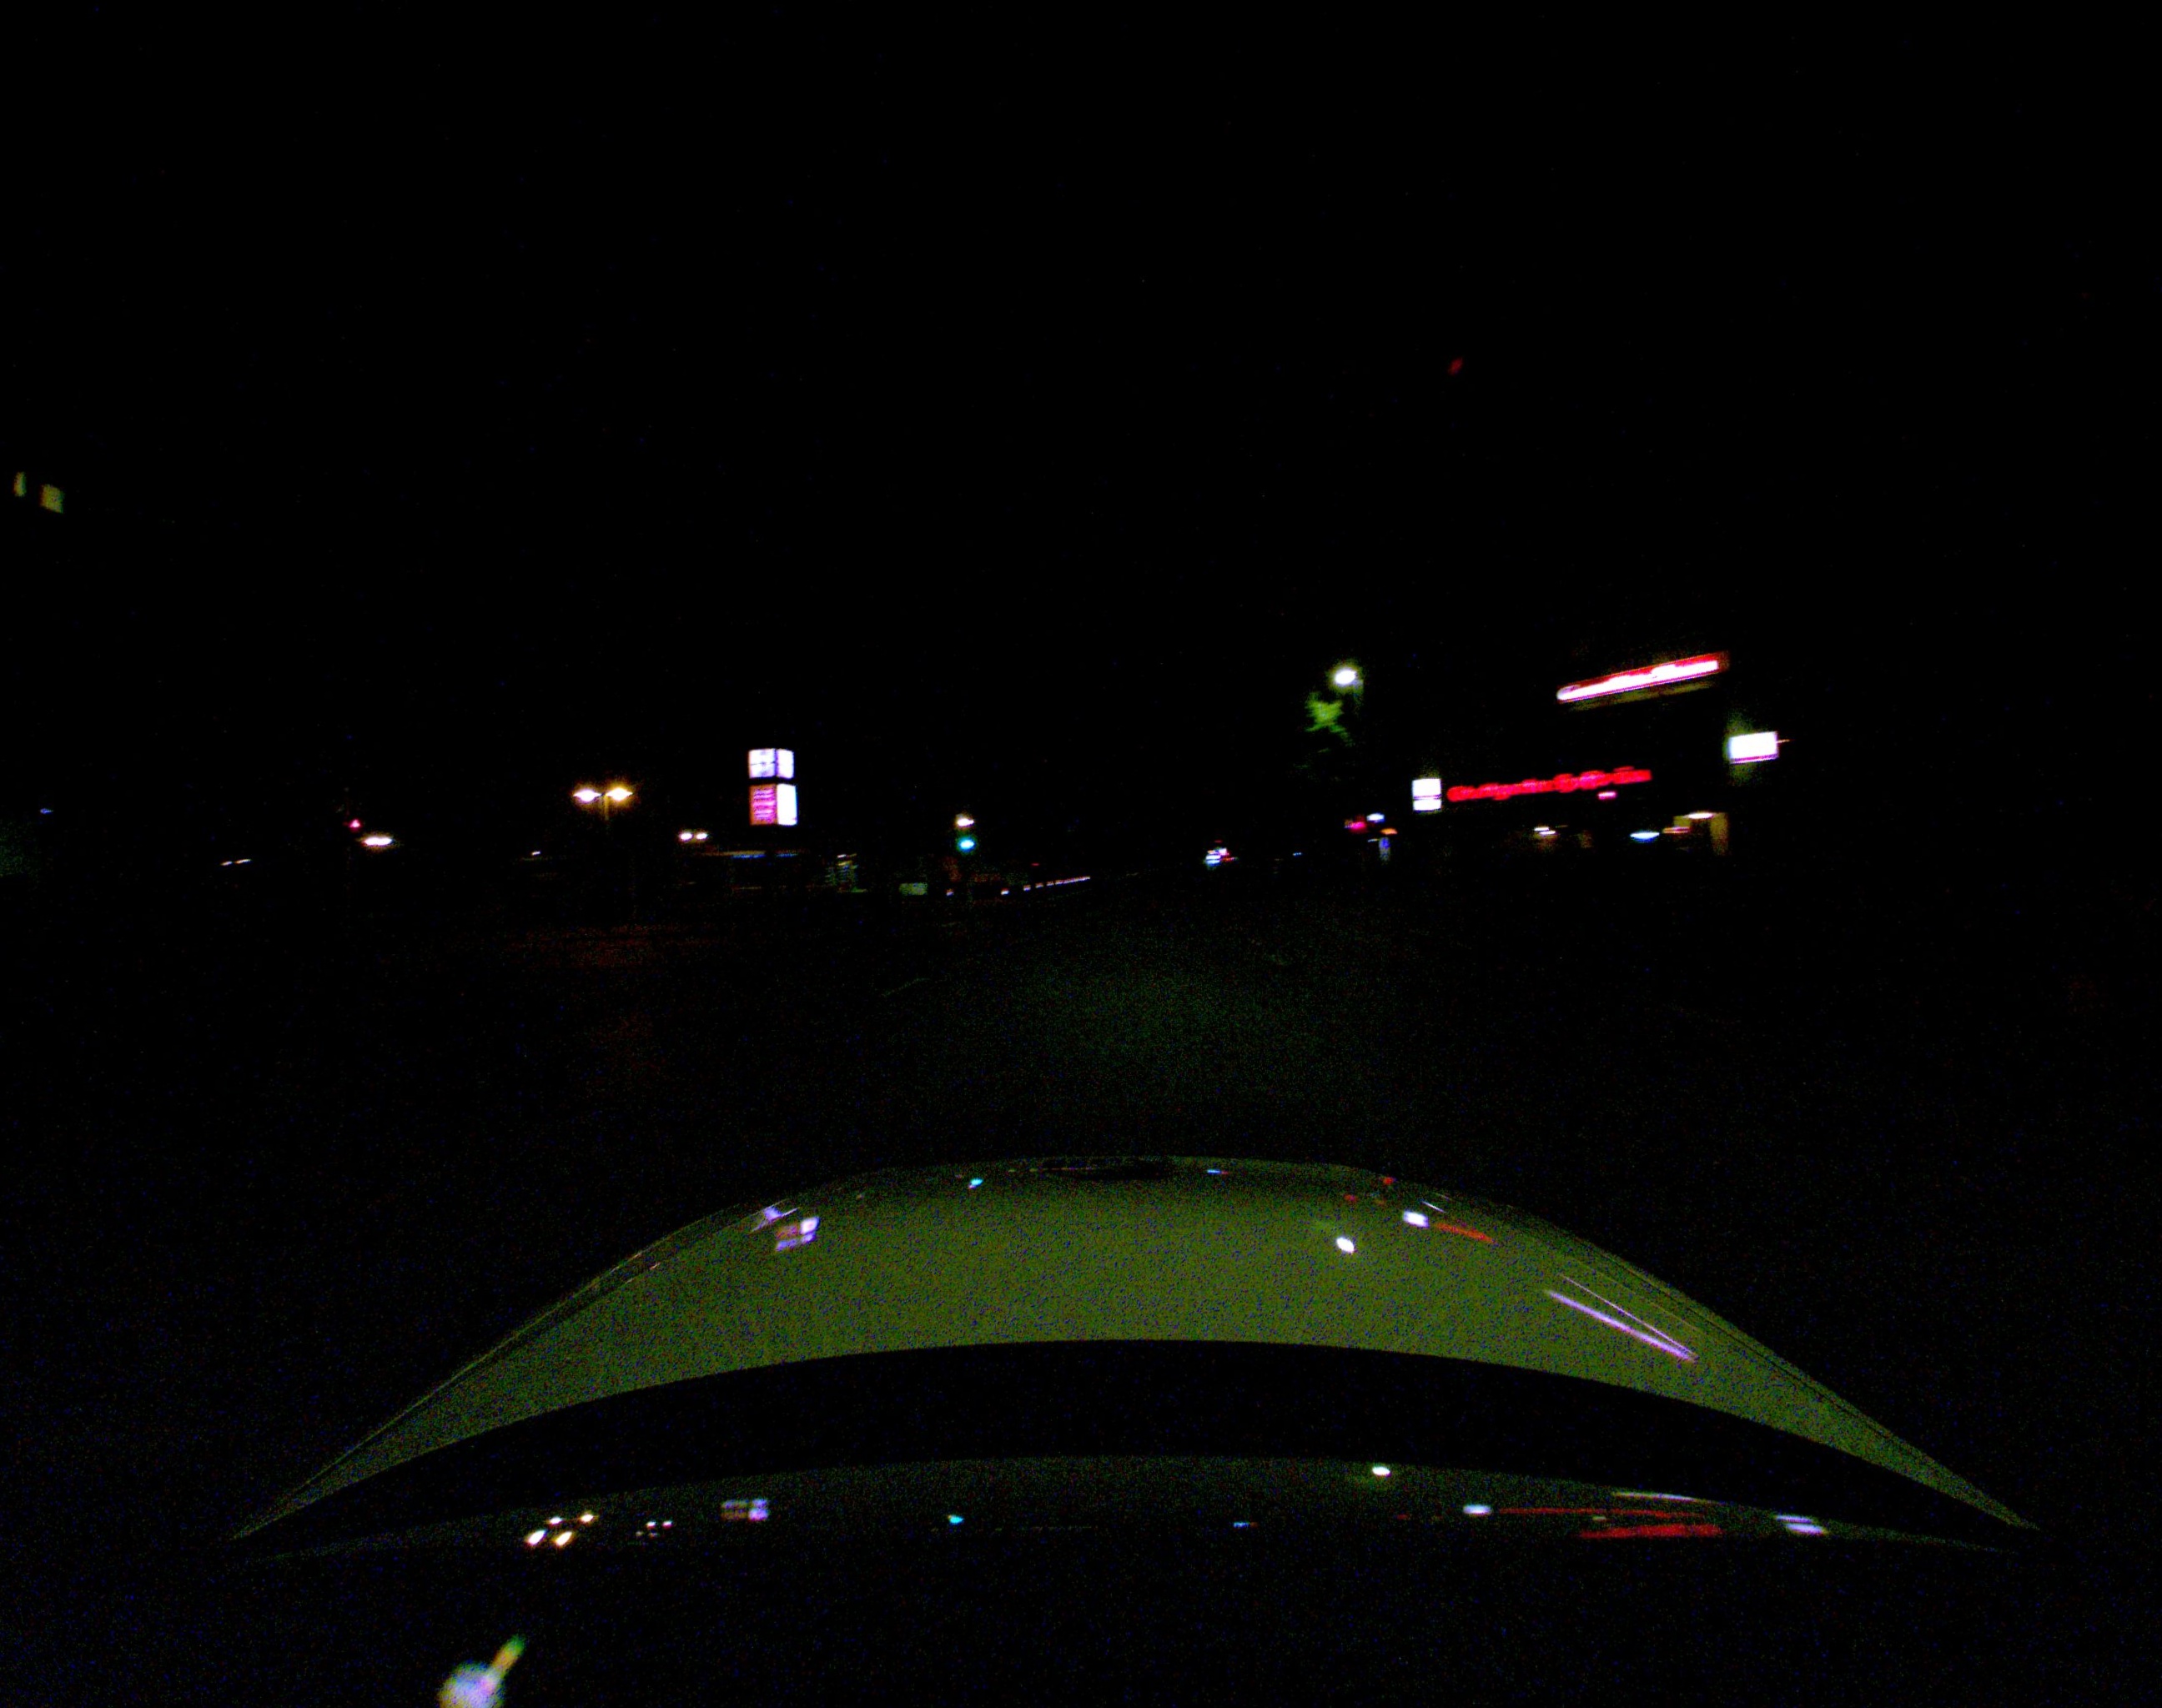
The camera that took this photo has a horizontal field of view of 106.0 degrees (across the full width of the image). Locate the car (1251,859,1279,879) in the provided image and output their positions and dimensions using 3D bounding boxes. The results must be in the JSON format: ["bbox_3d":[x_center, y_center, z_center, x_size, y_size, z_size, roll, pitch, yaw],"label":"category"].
[{"bbox_3d":[13.835,1.096,61.048,1.875,1.453,3.910,-1,-1,14],"label":"car"}]

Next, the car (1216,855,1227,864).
[{"bbox_3d":[27.581,1.163,160.195,1.867,1.659,3.896,-3,-1,5],"label":"car"}]

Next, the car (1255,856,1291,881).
[{"bbox_3d":[13.180,0.981,56.074,1.860,1.653,3.868,0,-1,5],"label":"car"}]

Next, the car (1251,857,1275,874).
[{"bbox_3d":[15.345,0.963,68.702,1.876,1.453,3.907,-1,-1,12],"label":"car"}]

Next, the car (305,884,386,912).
[{"bbox_3d":[-43.443,2.585,48.224,1.921,1.451,3.980,0,-1,-15],"label":"car"}]

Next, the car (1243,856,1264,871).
[{"bbox_3d":[18.331,1.007,86.264,1.992,1.626,3.910,-1,-1,14],"label":"car"}]
